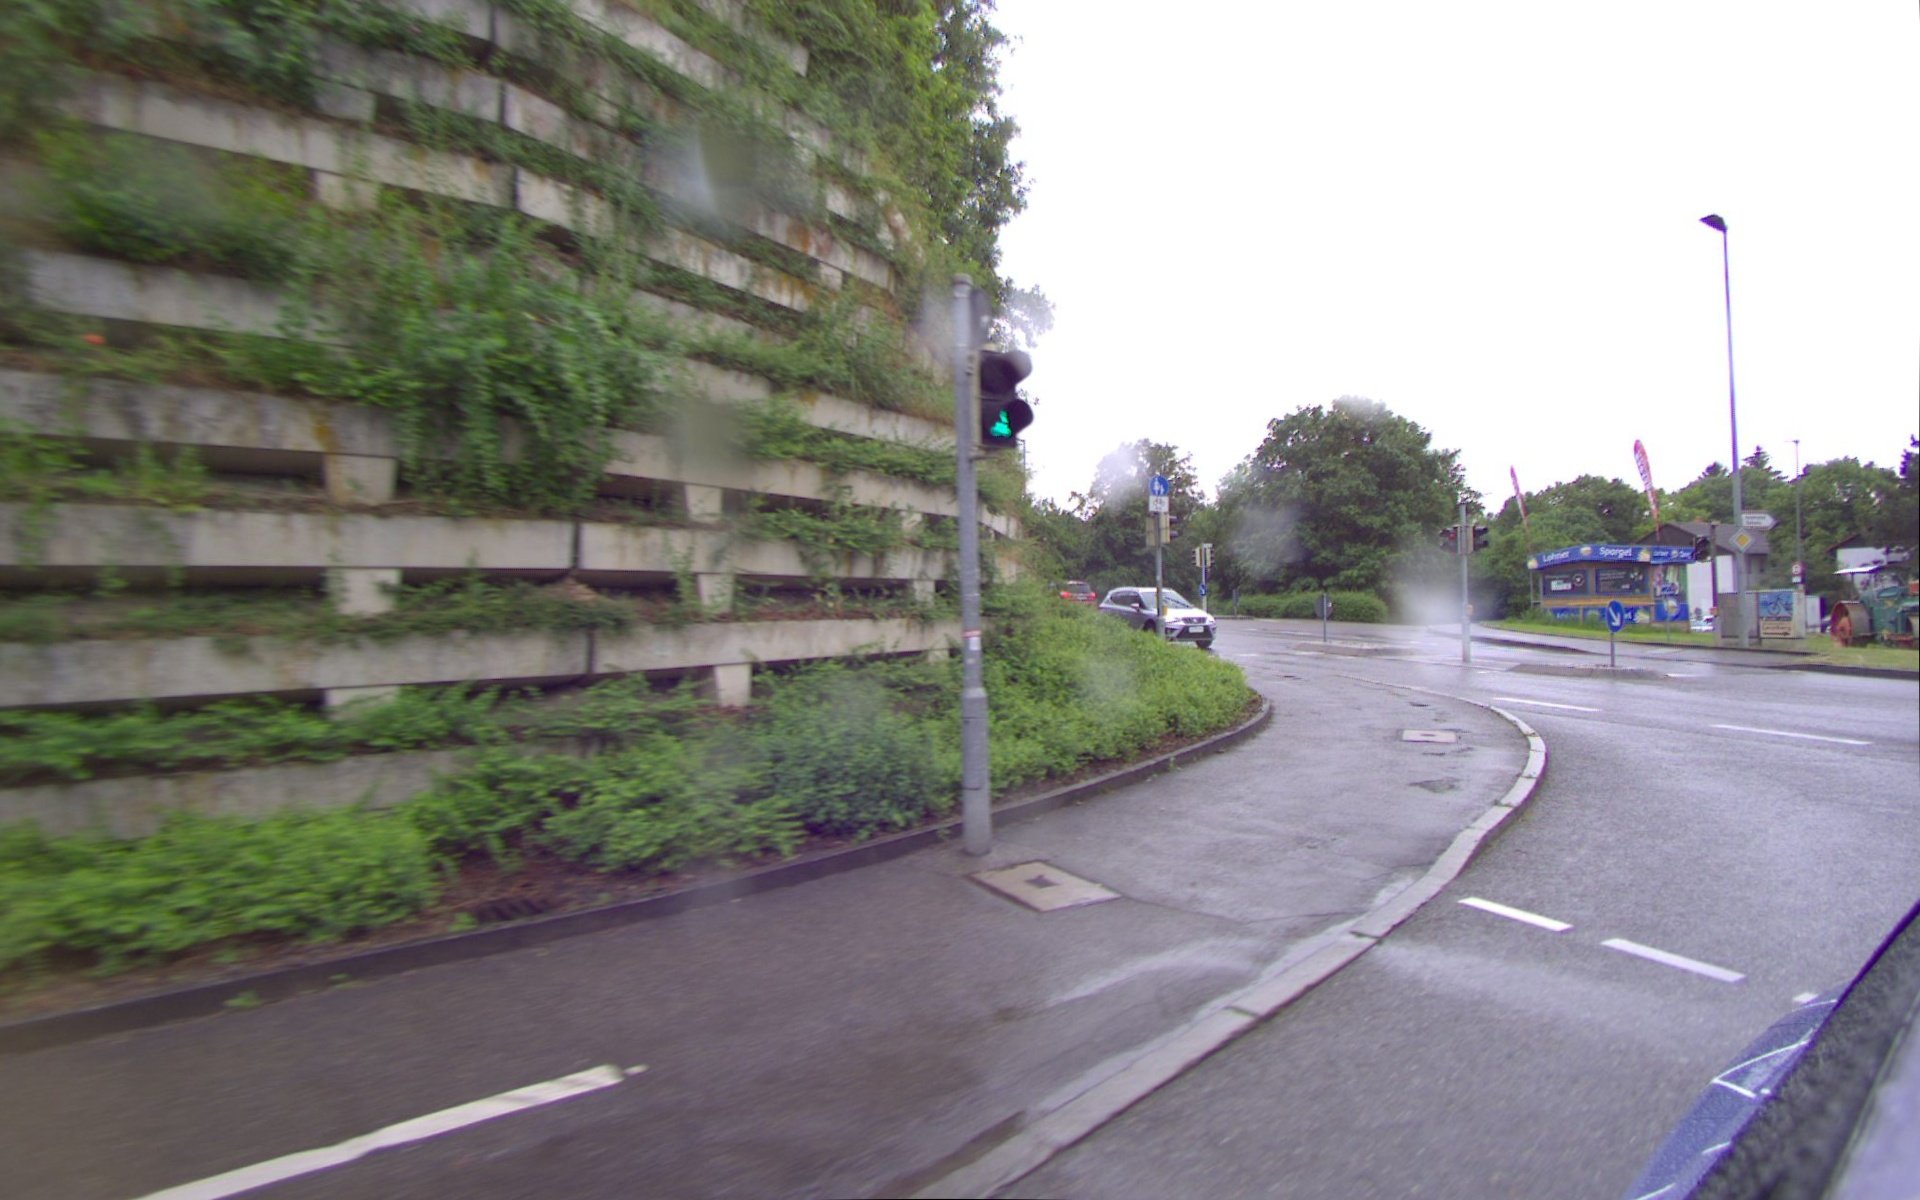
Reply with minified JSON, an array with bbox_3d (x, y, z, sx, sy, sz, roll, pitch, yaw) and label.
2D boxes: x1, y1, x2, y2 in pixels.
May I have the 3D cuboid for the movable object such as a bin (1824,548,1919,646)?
[{"bbox_3d":[28.654,-0.028,30.314,2.282,2.720,5.666,1,0,19],"label":"movable object such as a bin"}]

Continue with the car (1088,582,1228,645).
[{"bbox_3d":[5.136,0.309,26.814,1.647,1.526,4.163,1,1,-21],"label":"car"}]

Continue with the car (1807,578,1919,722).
[{"bbox_3d":[11.687,0.577,10.674,1.647,1.590,3.896,1,1,-22],"label":"car"}]

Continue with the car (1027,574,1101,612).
[{"bbox_3d":[4.913,-0.355,48.480,1.863,1.736,4.693,1,1,-17],"label":"car"}]

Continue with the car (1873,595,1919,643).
[{"bbox_3d":[33.168,0.675,33.590,1.638,1.593,4.000,0,1,-35],"label":"car"}]
